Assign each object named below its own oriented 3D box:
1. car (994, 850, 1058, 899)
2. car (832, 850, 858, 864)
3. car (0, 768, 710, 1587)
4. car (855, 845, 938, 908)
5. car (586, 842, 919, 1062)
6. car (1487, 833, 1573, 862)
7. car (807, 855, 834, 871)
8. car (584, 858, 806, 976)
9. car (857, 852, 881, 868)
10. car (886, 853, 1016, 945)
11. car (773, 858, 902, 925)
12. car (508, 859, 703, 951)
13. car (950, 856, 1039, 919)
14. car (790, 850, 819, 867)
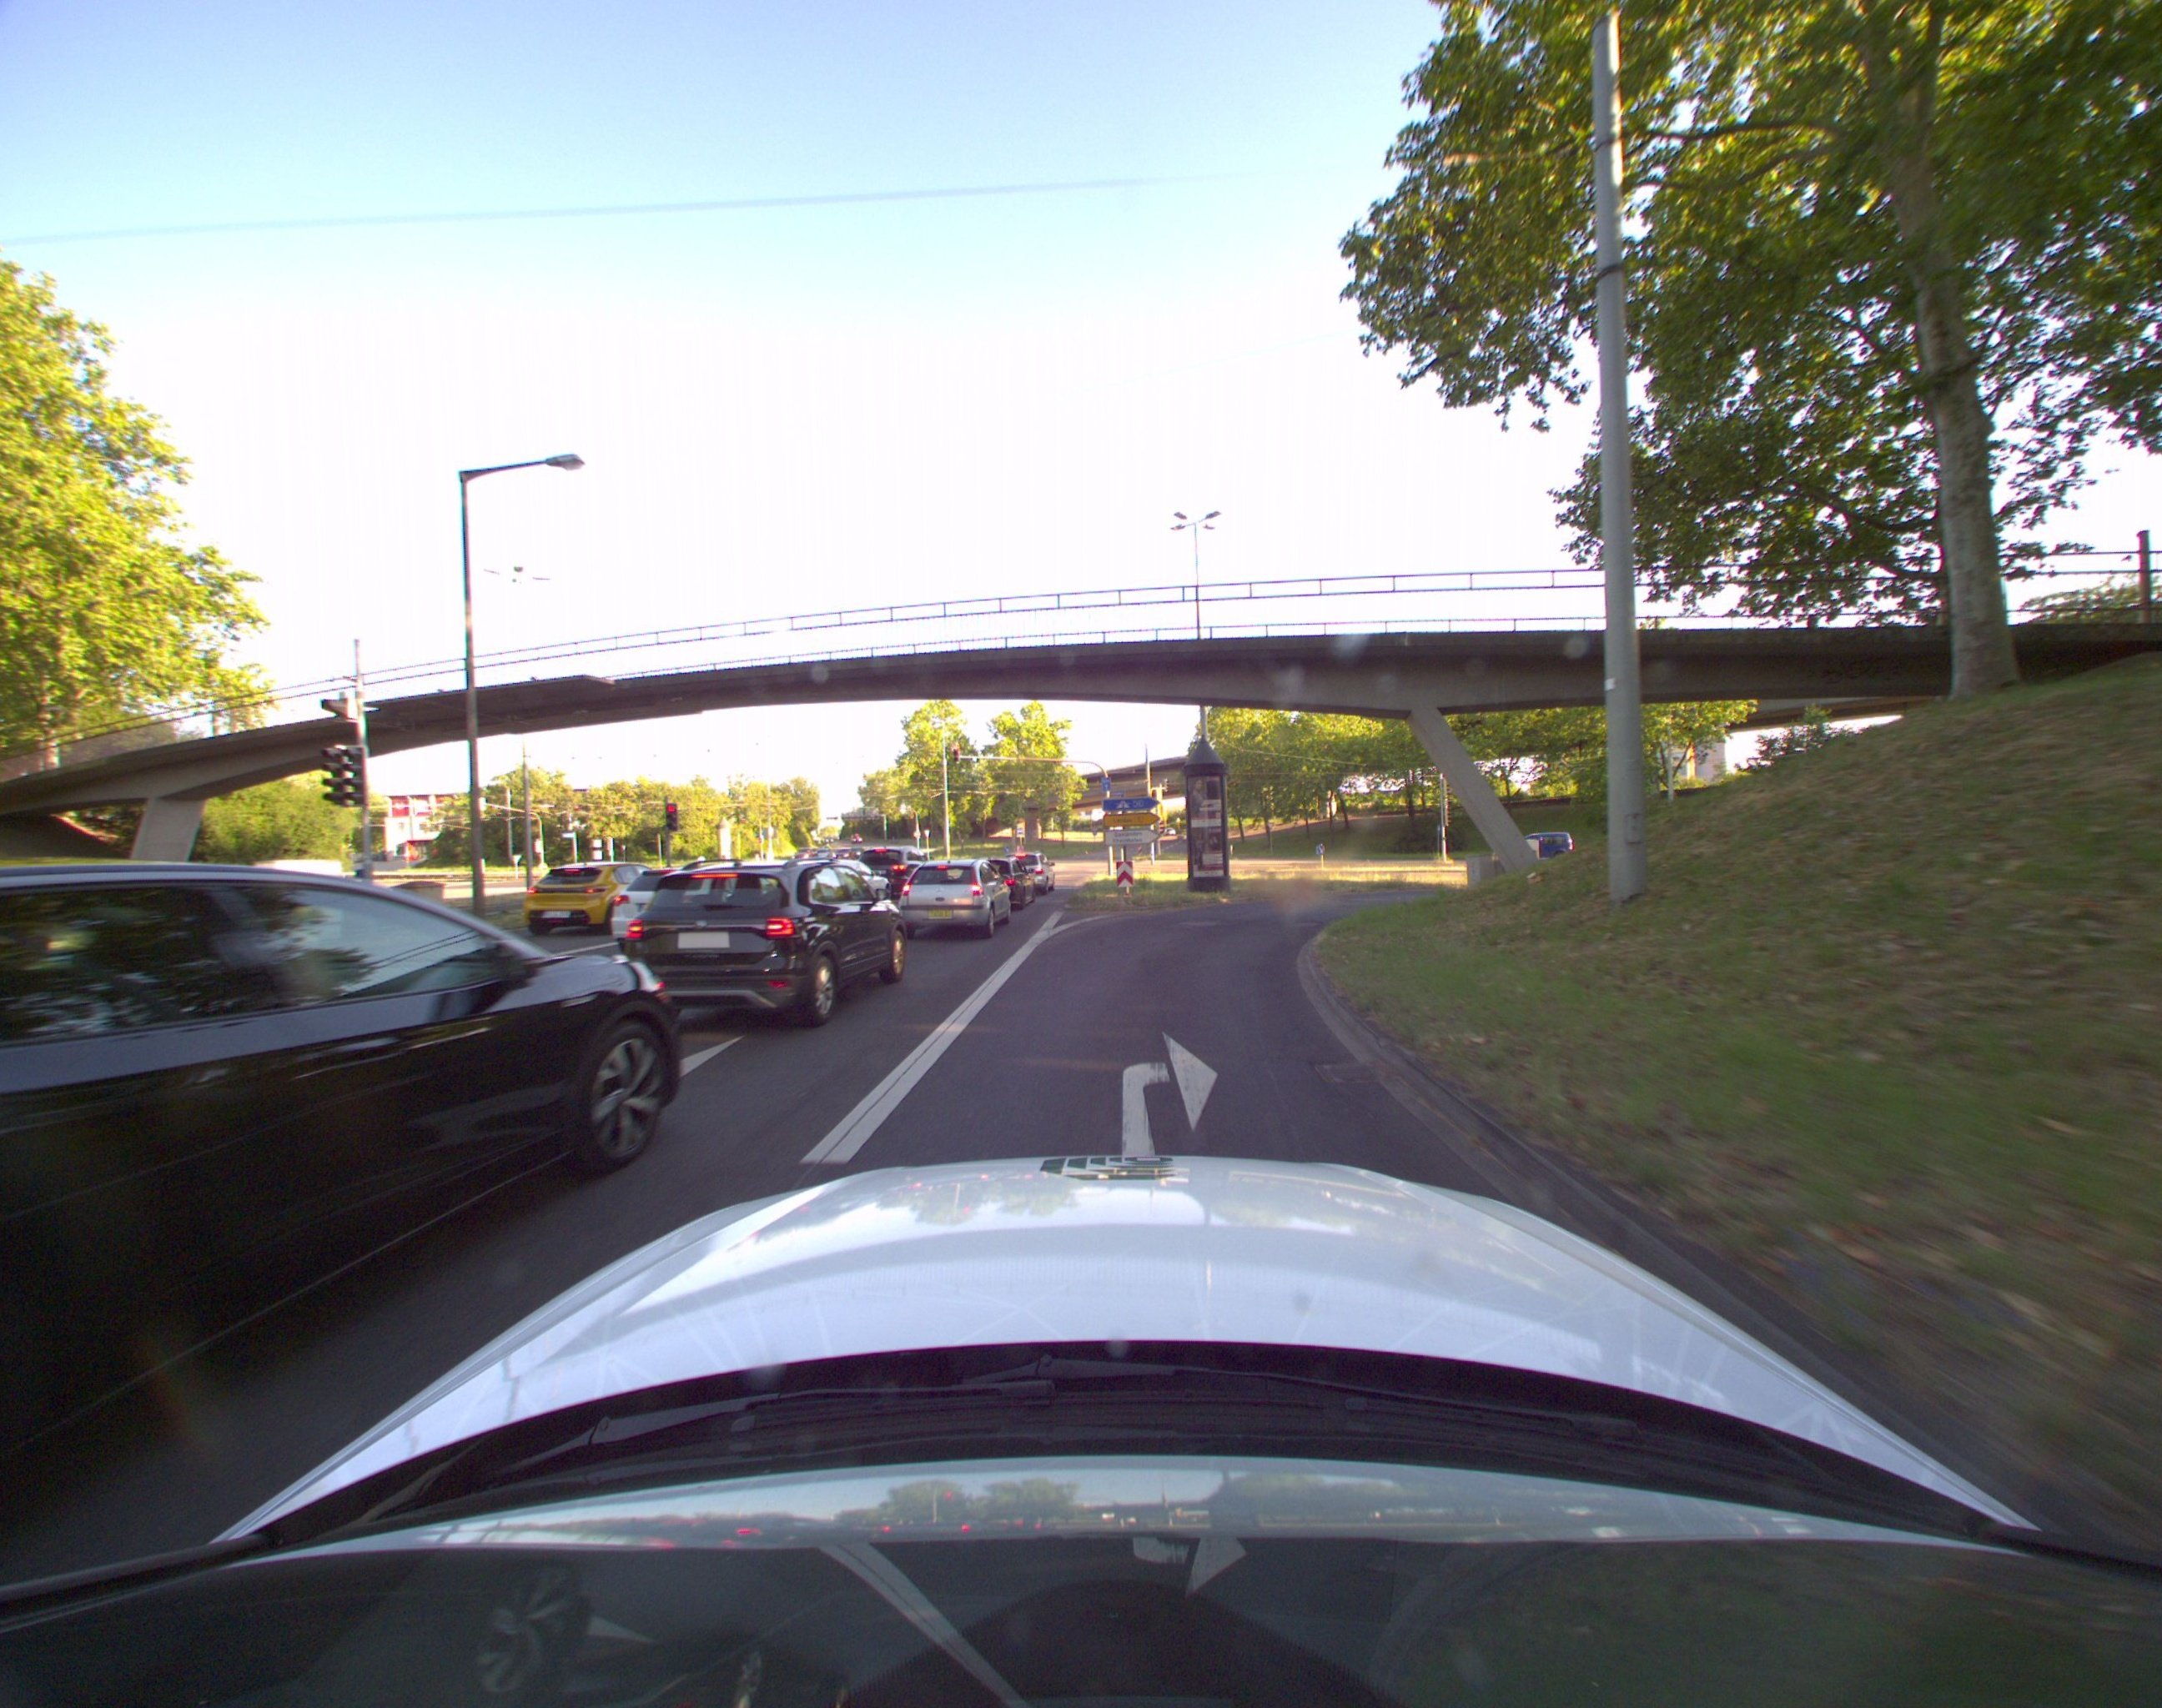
[{"bbox_3d":[-1.881,0.677,29.039,1.785,1.442,4.002,-4,1,2],"label":"car"},{"bbox_3d":[-27.147,0.340,93.660,1.872,1.575,3.675,-1,1,0],"label":"car"},{"bbox_3d":[-3.209,0.730,2.681,1.785,1.749,4.243,-4,1,2],"label":"car"},{"bbox_3d":[-6.082,0.672,27.414,1.788,1.792,4.821,-4,1,-3],"label":"car"},{"bbox_3d":[-3.196,0.807,8.924,1.785,1.749,4.002,-4,1,2],"label":"car"},{"bbox_3d":[27.916,-0.418,50.811,4.464,1.692,2.011,-1,1,22],"label":"car"},{"bbox_3d":[-31.436,1.063,98.363,1.872,1.771,4.000,-1,1,0],"label":"car"},{"bbox_3d":[-6.450,0.949,14.208,1.656,1.565,4.193,-4,1,2],"label":"car"},{"bbox_3d":[-26.222,0.703,100.682,1.872,1.771,4.000,-1,1,0],"label":"car"},{"bbox_3d":[-2.496,0.807,16.655,1.785,1.481,4.002,-4,1,2],"label":"car"},{"bbox_3d":[-6.155,0.892,21.134,1.734,1.432,4.416,-1,1,4],"label":"car"},{"bbox_3d":[-10.056,0.995,17.629,1.656,1.565,4.002,-4,1,2],"label":"car"},{"bbox_3d":[-2.288,0.845,22.692,1.785,1.382,4.479,-4,1,2],"label":"car"},{"bbox_3d":[-30.838,0.480,90.982,1.872,1.771,4.000,-1,1,0],"label":"car"}]
